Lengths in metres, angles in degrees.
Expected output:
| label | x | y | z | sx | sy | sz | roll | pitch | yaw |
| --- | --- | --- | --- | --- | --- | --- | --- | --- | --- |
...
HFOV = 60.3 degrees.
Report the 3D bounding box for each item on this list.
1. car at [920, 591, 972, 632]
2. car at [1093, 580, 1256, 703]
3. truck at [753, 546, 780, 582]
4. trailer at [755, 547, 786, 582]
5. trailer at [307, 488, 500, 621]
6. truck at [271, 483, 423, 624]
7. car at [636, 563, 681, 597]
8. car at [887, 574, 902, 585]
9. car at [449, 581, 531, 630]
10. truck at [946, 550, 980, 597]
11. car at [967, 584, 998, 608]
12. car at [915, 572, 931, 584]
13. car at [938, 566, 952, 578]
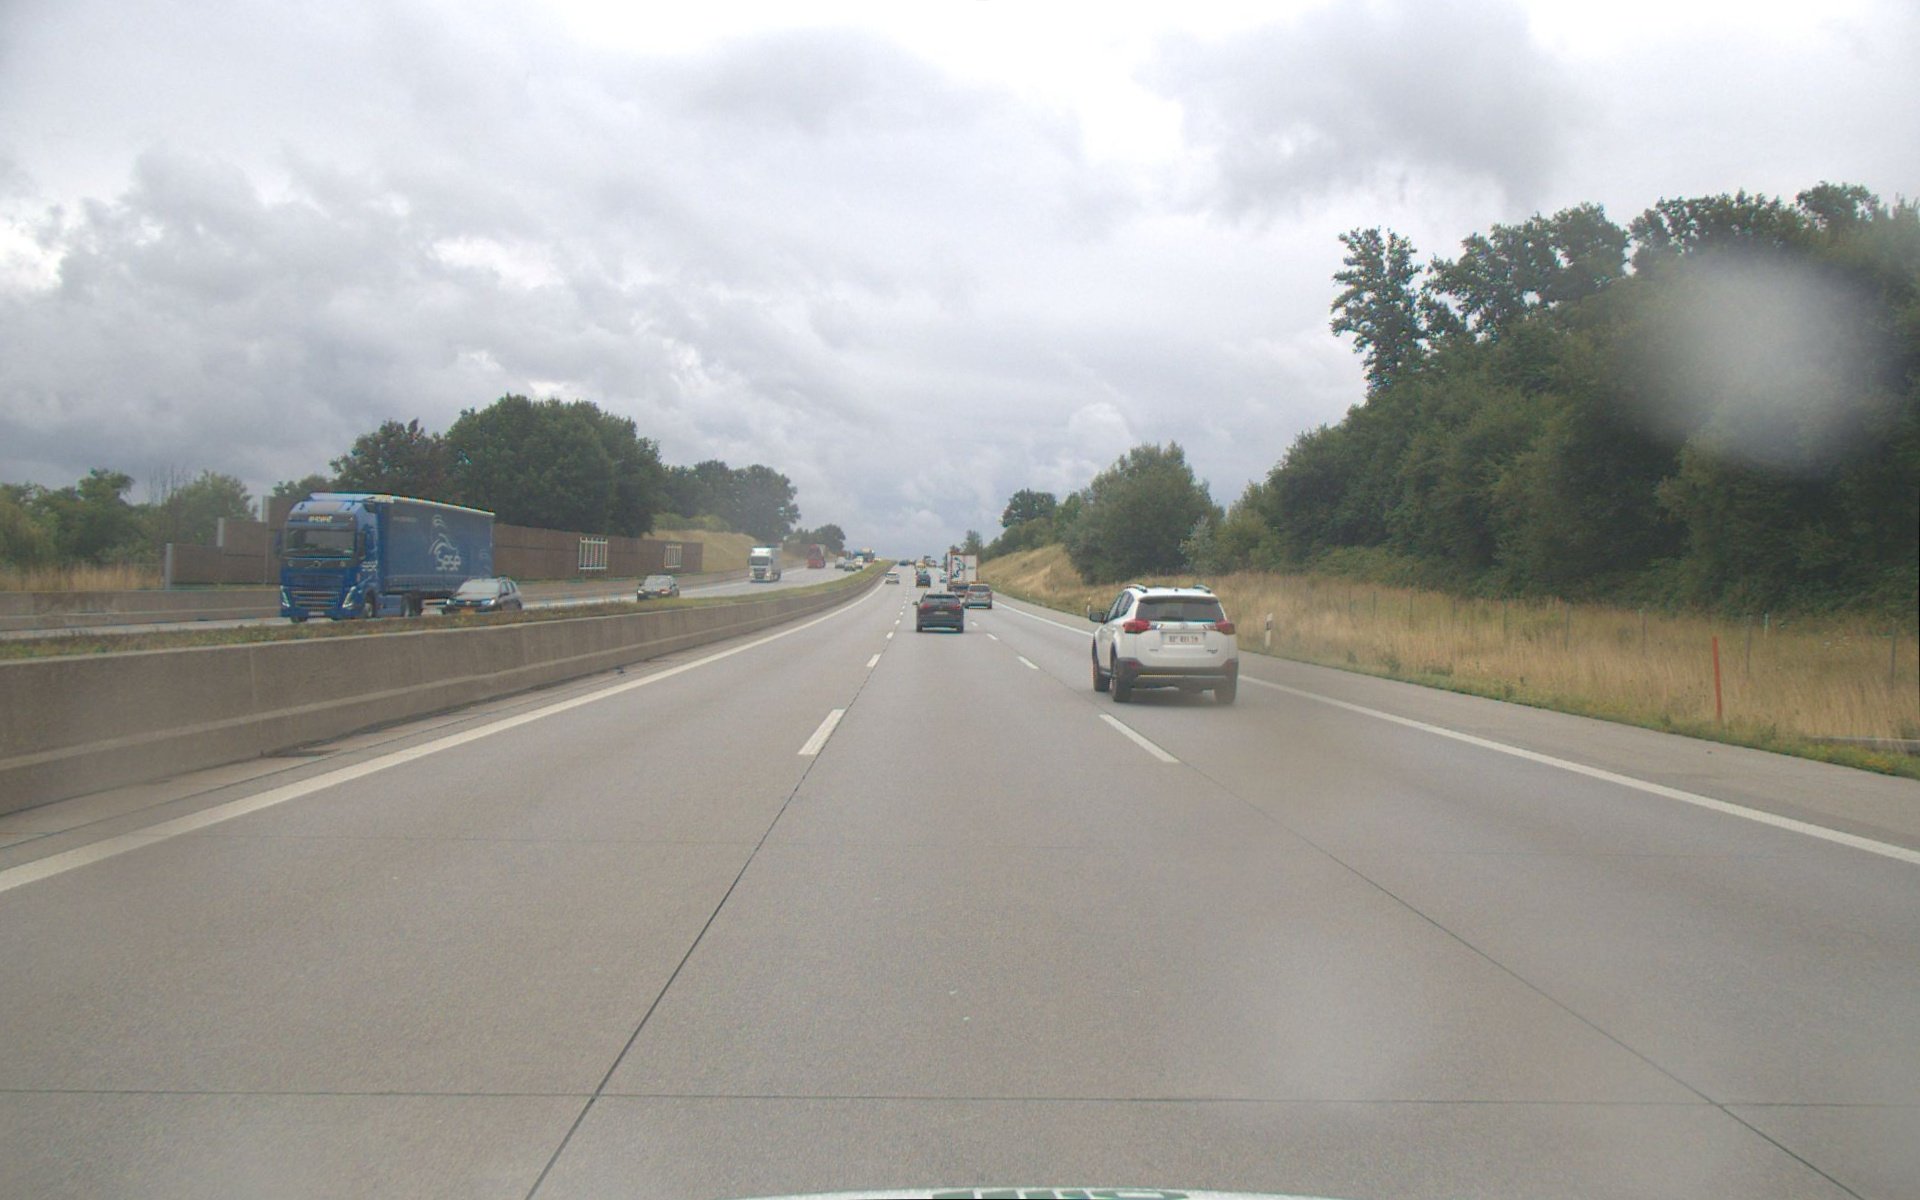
| label | x | y | z | sx | sy | sz | roll | pitch | yaw |
| --- | --- | --- | --- | --- | --- | --- | --- | --- | --- |
| car | -0.548 | 0.382 | 60.527 | 1.717 | 1.422 | 4.482 | 1 | 0 | -2 |
| car | 3.148 | 0.571 | 24.992 | 1.789 | 1.684 | 3.983 | 1 | 0 | -2 |
| truck | -23.149 | -4.261 | 197.826 | 2.628 | 4.154 | 6.215 | 1 | 1 | -2 |
| trailer | -23.377 | -4.336 | 204.354 | 2.642 | 4.167 | 14.001 | 1 | 1 | -2 |
| trailer | -19.988 | -1.503 | 60.603 | 2.655 | 4.282 | 13.789 | 1 | 0 | -1 |
| truck | -19.807 | -1.449 | 53.840 | 2.637 | 4.261 | 6.210 | 1 | 0 | -1 |
| car | -16.640 | -1.074 | 91.385 | 1.780 | 1.798 | 4.730 | 1 | 0 | -2 |
| car | -8.957 | -2.815 | 225.868 | 1.908 | 1.379 | 4.259 | 1 | 1 | 0 |
| car | -15.626 | 0.149 | 55.148 | 1.604 | 1.526 | 4.516 | 1 | 1 | -3 |
| truck | 0.260 | -2.517 | 157.324 | 2.956 | 4.253 | 8.352 | 1 | 1 | -1 |
| car | 1.466 | -0.288 | 110.218 | 1.953 | 1.557 | 3.999 | 1 | 0 | -1 |
| car | -4.667 | -2.757 | 208.577 | 1.896 | 1.399 | 4.594 | 2 | 0 | 0 |
| car | -2.273 | -4.156 | 245.696 | 1.952 | 1.668 | 4.000 | 1 | 1 | 0 |
